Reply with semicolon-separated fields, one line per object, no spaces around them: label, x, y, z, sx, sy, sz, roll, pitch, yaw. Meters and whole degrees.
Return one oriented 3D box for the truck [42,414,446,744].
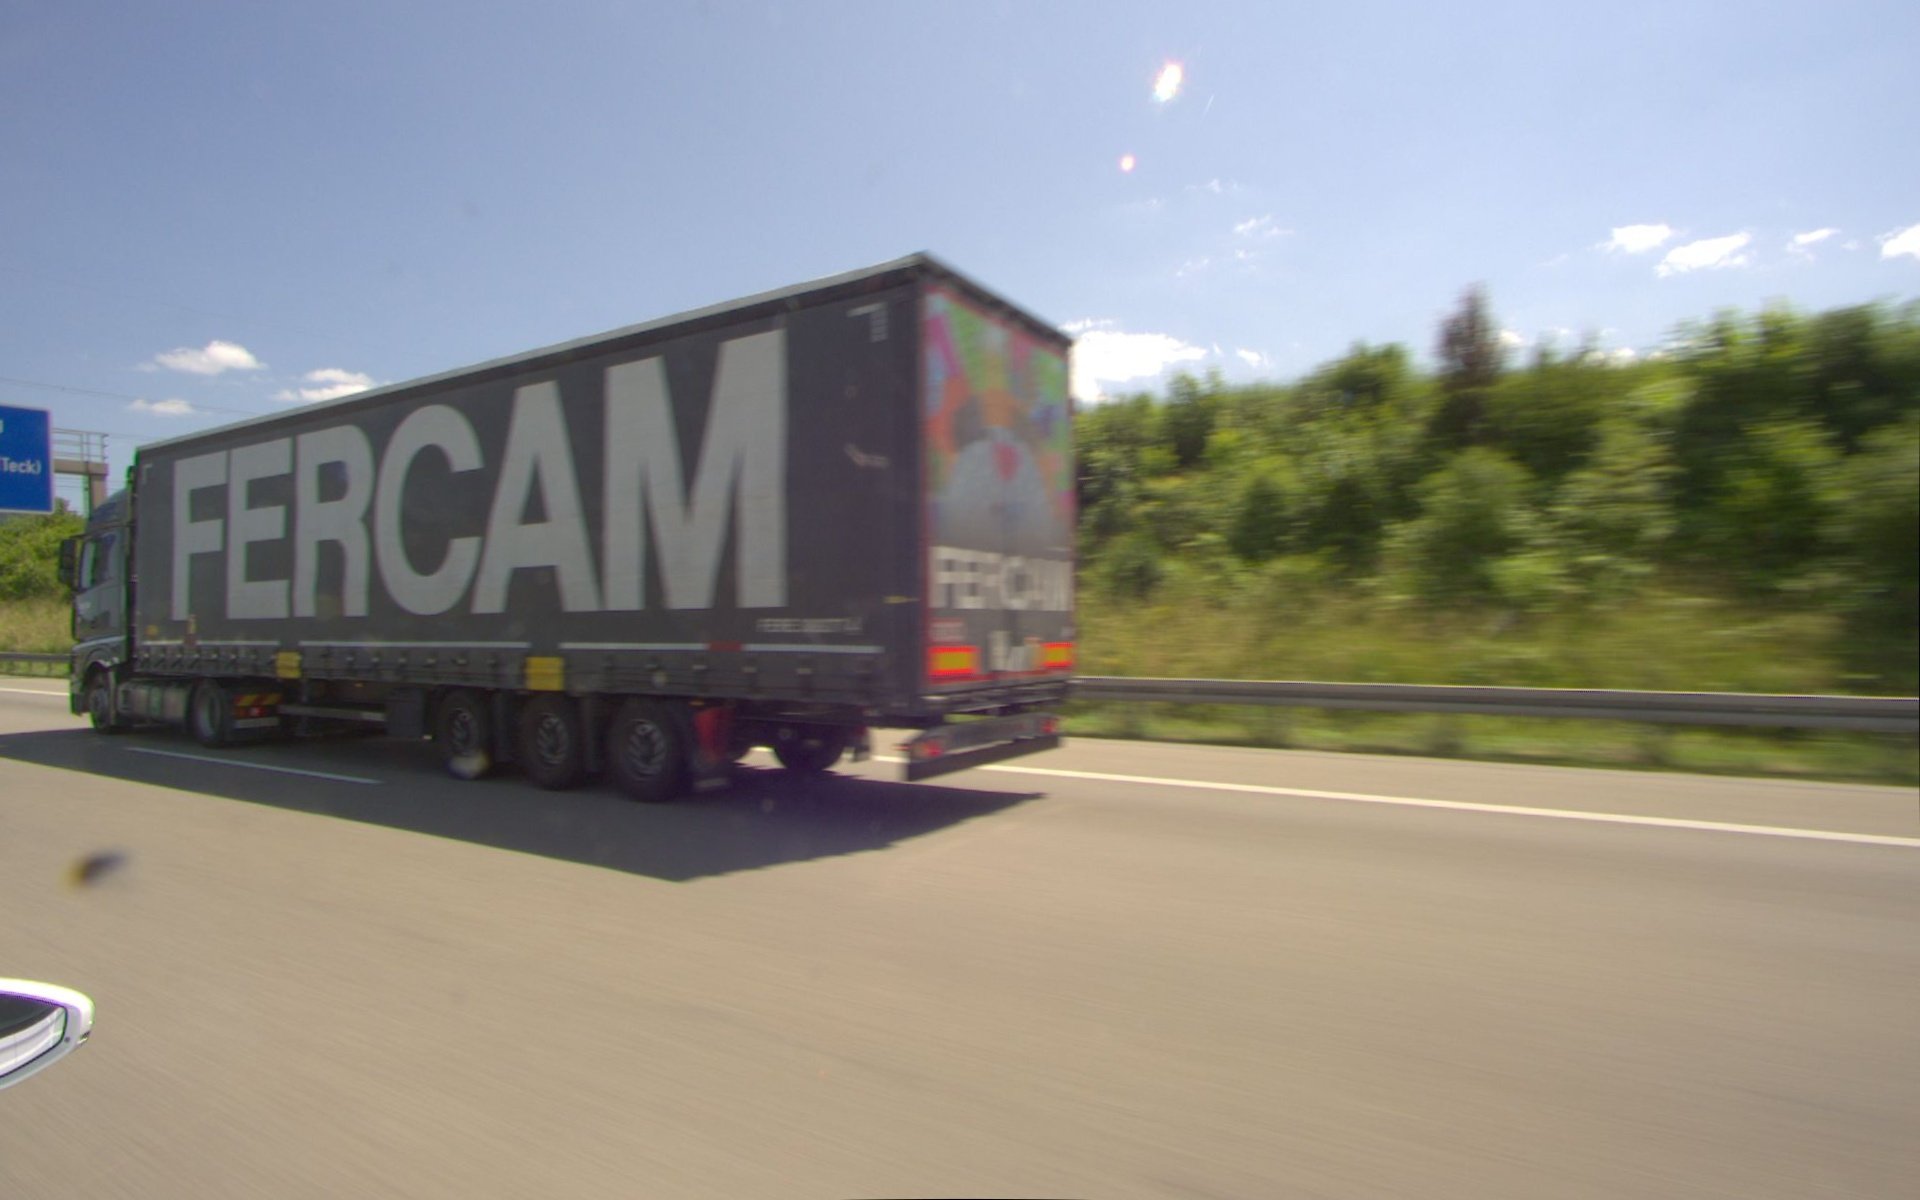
truck;-11.092;-0.141;15.342;6.693;4.071;2.747;-1;-2;33

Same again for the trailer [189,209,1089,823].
trailer;-4.452;-0.405;11.137;11.641;4.207;2.720;-2;-2;33
